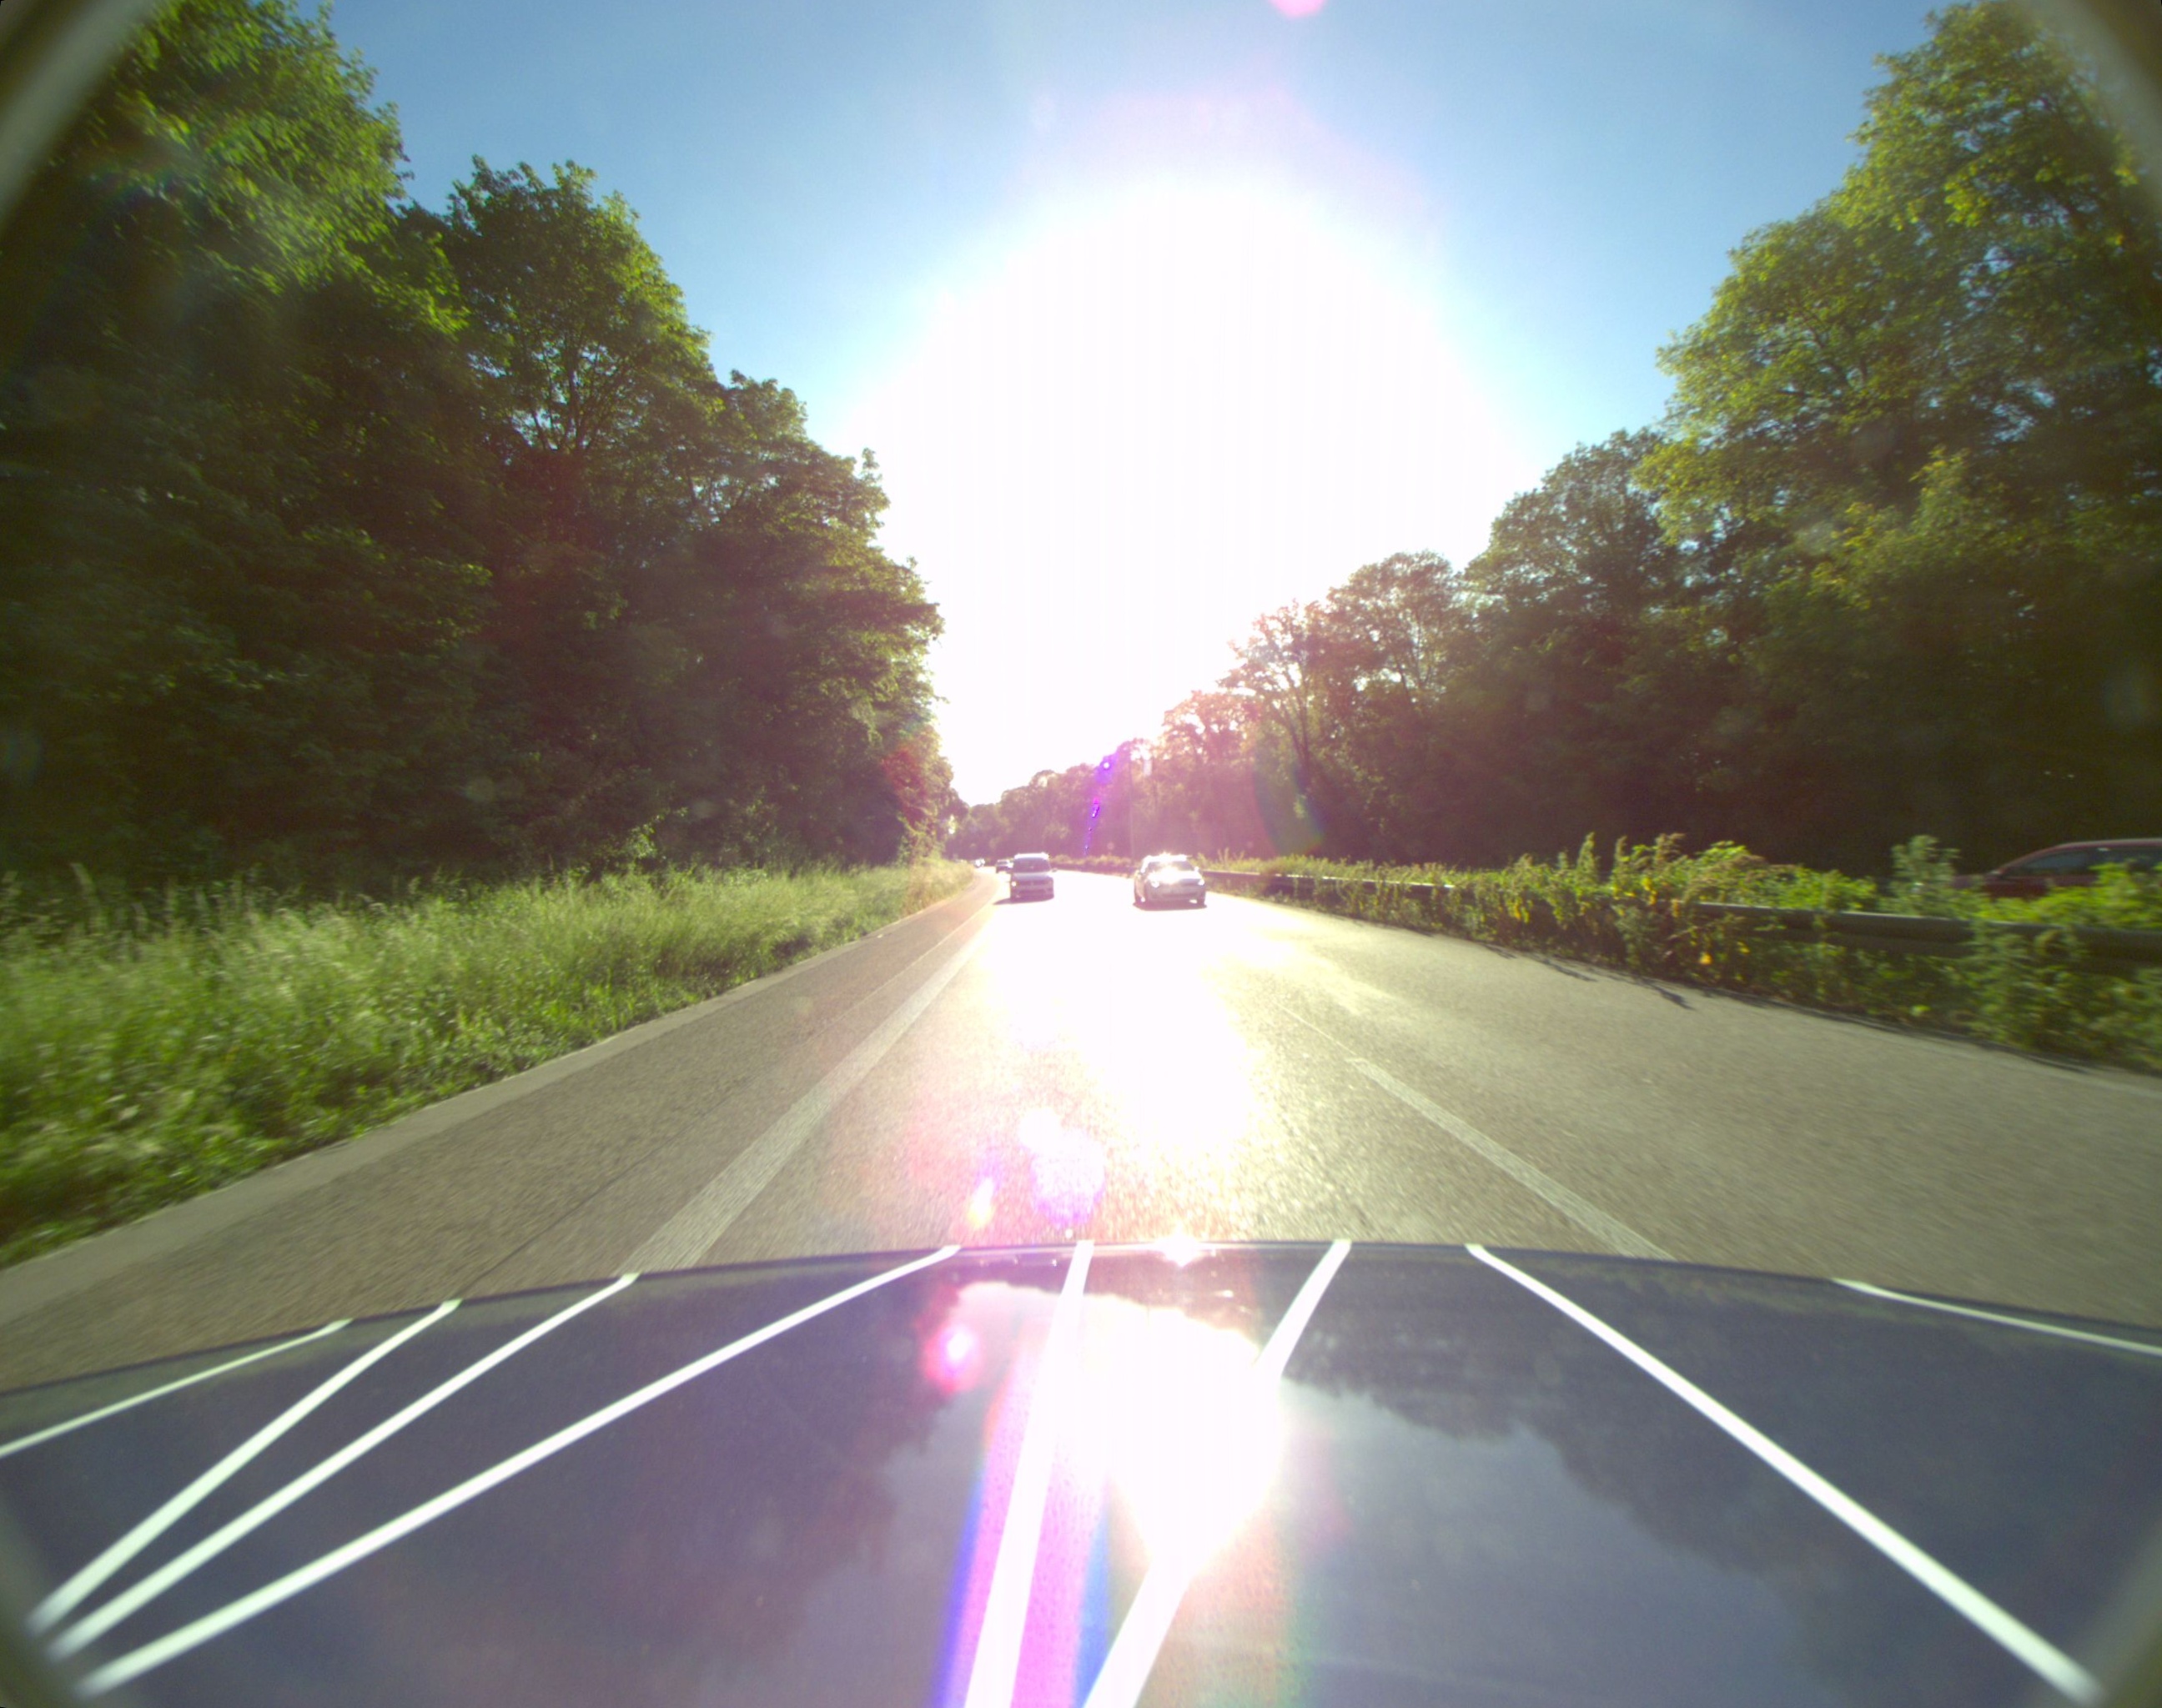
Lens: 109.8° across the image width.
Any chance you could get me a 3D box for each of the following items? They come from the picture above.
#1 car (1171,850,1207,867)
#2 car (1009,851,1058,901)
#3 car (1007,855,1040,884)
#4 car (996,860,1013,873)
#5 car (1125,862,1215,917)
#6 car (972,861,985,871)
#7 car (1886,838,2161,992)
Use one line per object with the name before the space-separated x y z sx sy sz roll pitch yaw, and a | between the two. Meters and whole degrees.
car | 10.478 0.400 74.003 2.000 1.477 5.235 -3 1 -9
car | -1.900 0.839 31.546 1.800 1.796 4.831 -3 1 -2
car | -4.552 1.121 58.985 2.258 1.843 5.137 -3 3 -7
car | -9.441 1.493 93.202 1.935 1.499 5.083 -1 0 -7
car | 2.723 1.050 24.584 1.935 1.499 5.598 -2 0 -3
car | -19.651 2.256 144.905 1.936 1.500 5.078 -3 3 -13
car | 15.492 0.812 11.191 2.052 2.002 4.760 -3 1 -3
